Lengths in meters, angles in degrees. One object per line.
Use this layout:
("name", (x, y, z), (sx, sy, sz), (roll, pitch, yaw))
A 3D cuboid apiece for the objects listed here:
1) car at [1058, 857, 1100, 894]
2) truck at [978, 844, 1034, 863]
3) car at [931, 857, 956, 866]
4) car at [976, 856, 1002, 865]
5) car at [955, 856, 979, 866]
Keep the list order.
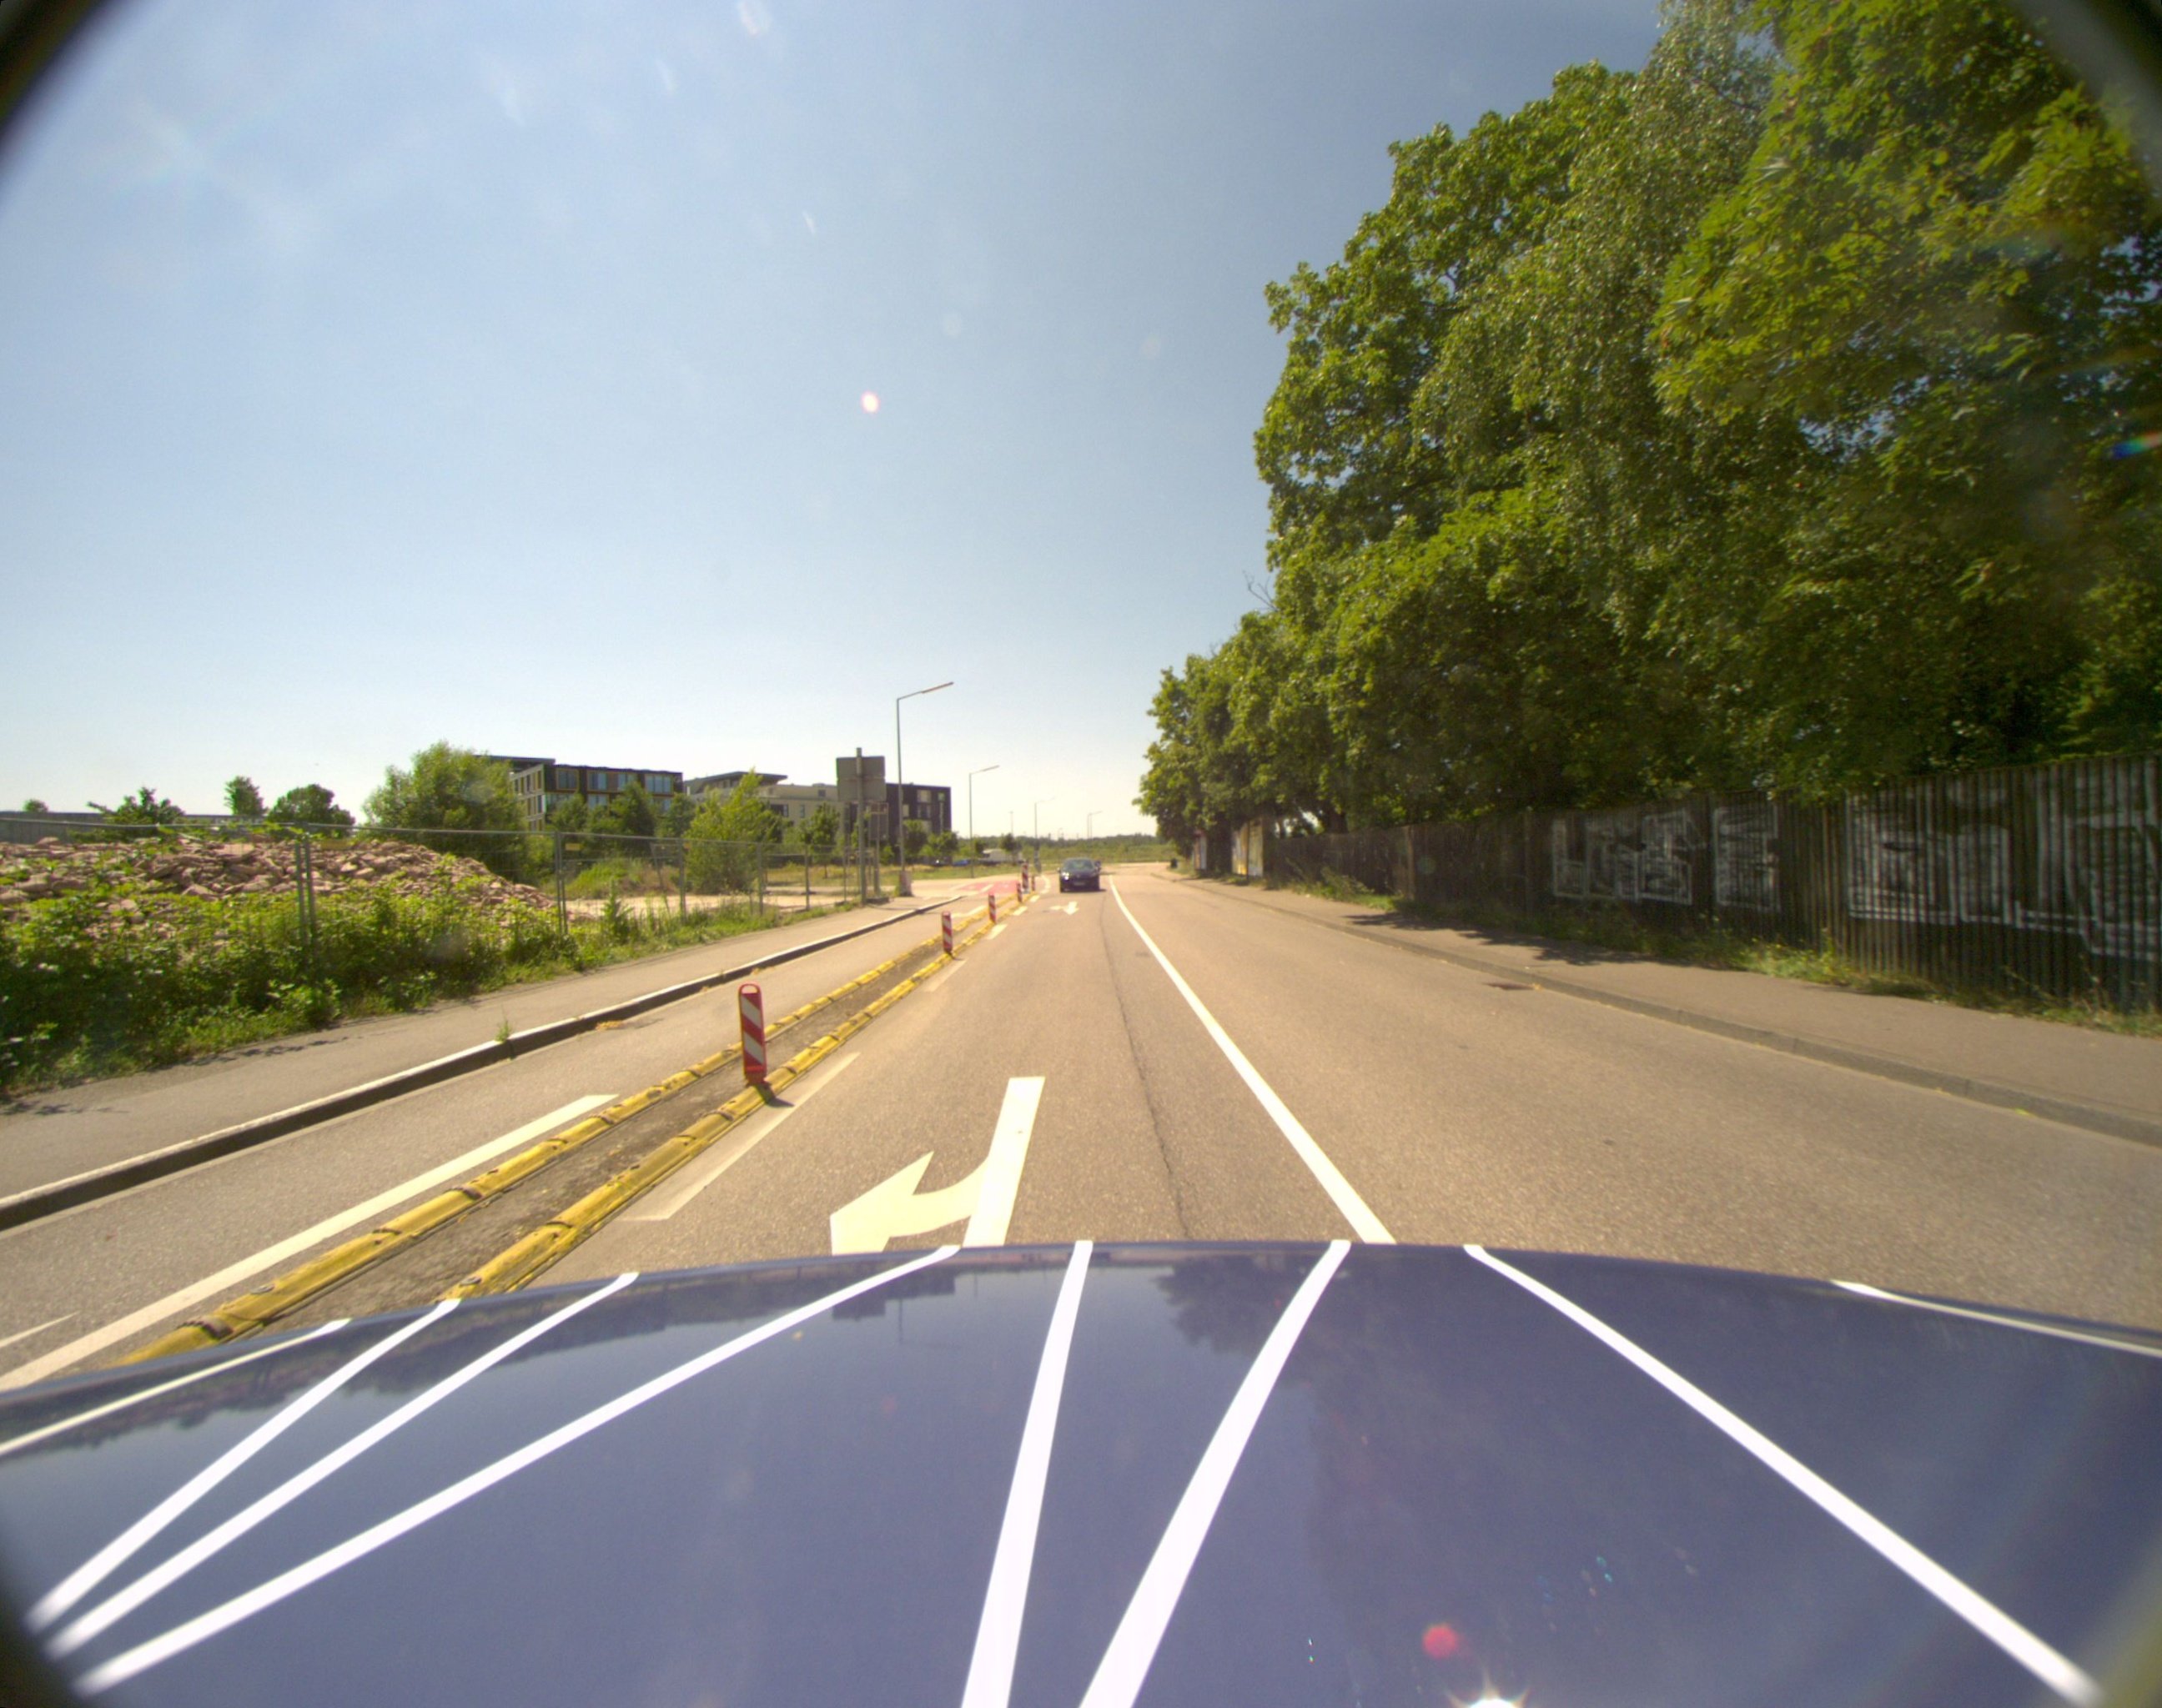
("car", (-0.065, 0.878, 32.593), (1.654, 1.458, 4.159), (-1, 0, 0))
("truck", (-14.918, -0.181, 153.266), (3.009, 3.442, 12.164), (2, 2, 44))
("car", (-23.267, 1.310, 128.477), (4.115, 1.436, 1.966), (-1, 0, 37))
("car", (-16.320, 1.092, 135.205), (4.495, 1.553, 2.036), (-1, 0, 41))
("car", (-19.865, 1.155, 132.137), (4.060, 1.642, 1.959), (-1, 0, 42))
